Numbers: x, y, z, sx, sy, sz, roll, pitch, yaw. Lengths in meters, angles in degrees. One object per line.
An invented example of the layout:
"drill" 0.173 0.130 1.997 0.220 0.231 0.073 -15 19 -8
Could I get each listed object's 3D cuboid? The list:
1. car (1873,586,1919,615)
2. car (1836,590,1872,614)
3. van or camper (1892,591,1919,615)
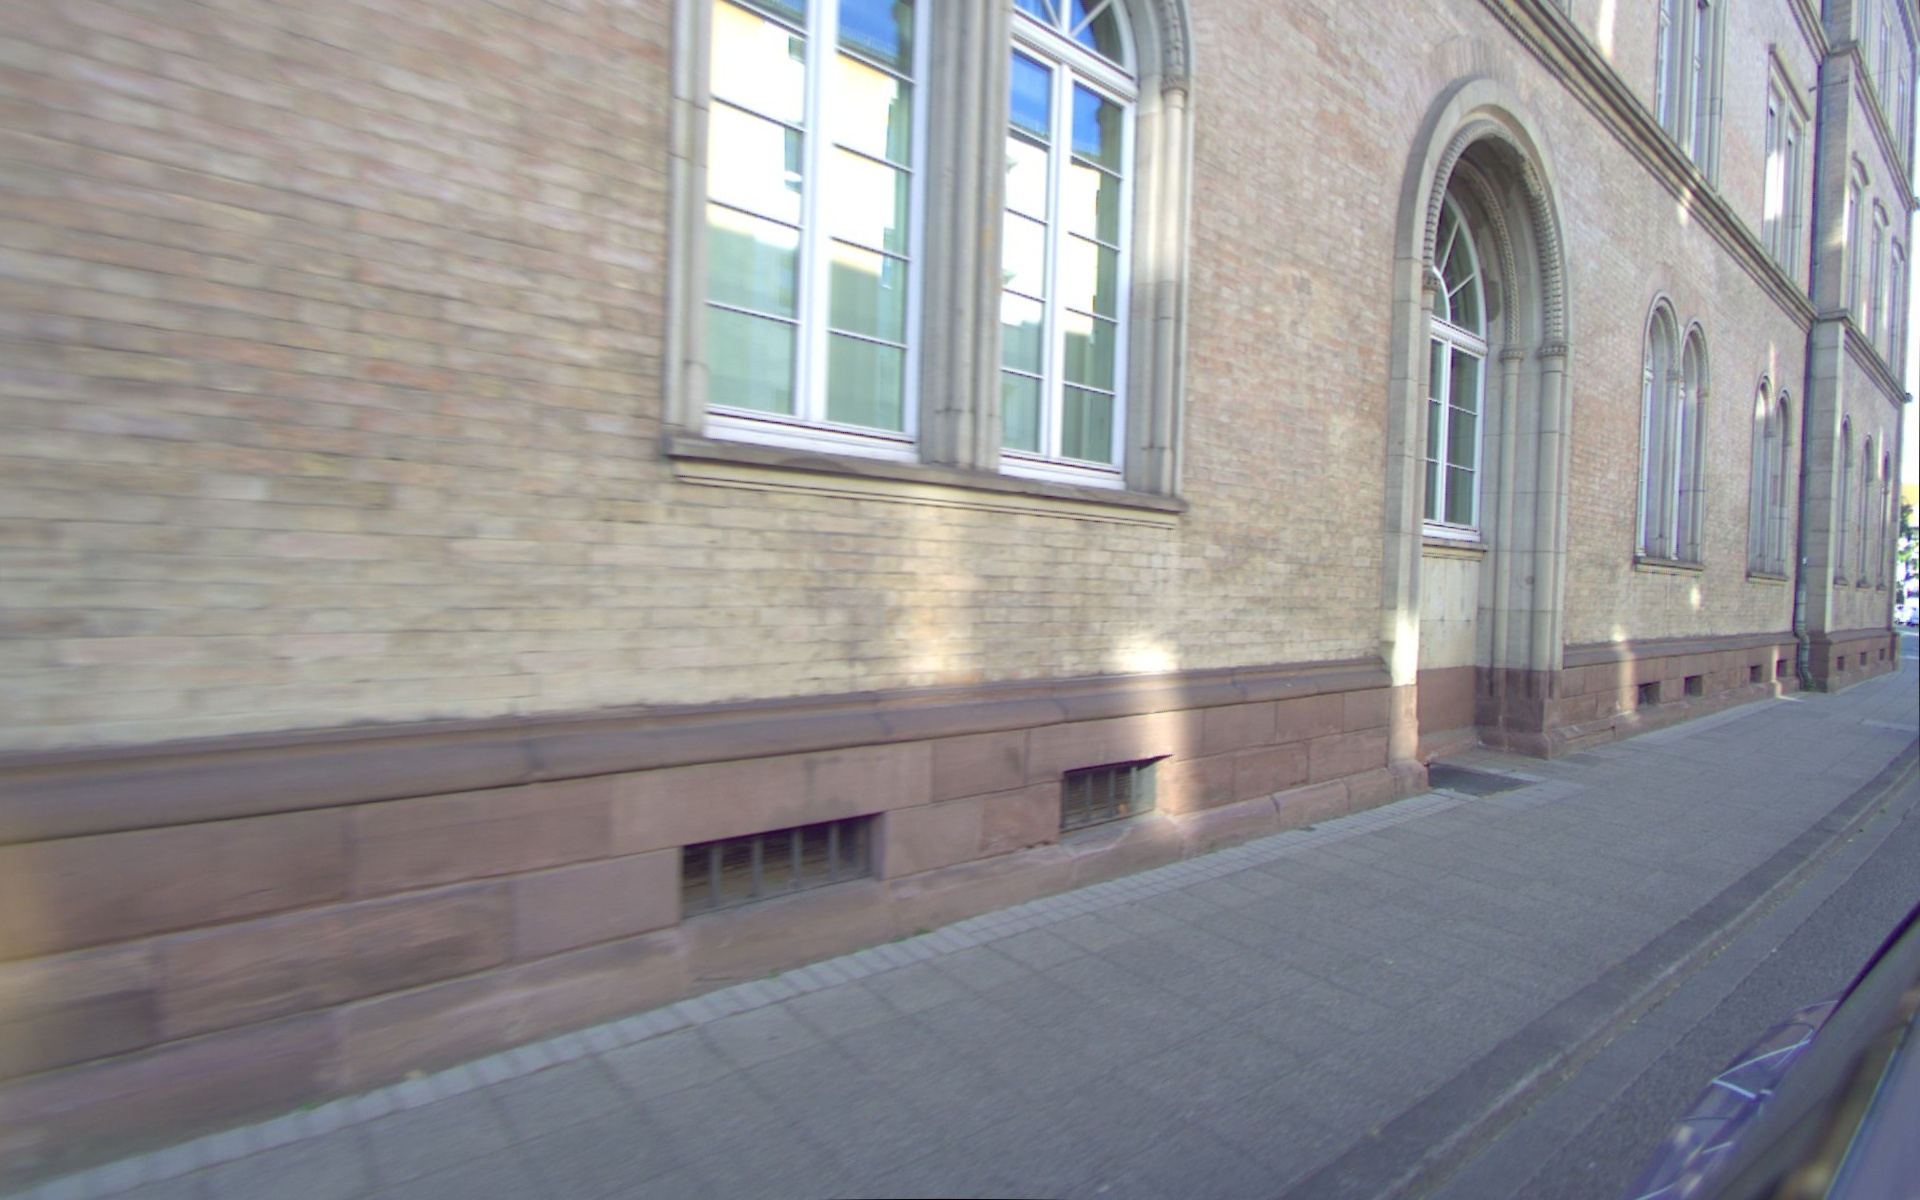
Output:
"car" 69.234 0.048 74.936 1.989 2.039 3.947 2 1 36
"car" 81.186 0.183 91.952 1.989 2.039 3.947 2 0 36
"van or camper" 89.113 0.316 93.018 4.688 2.113 1.981 2 1 28
